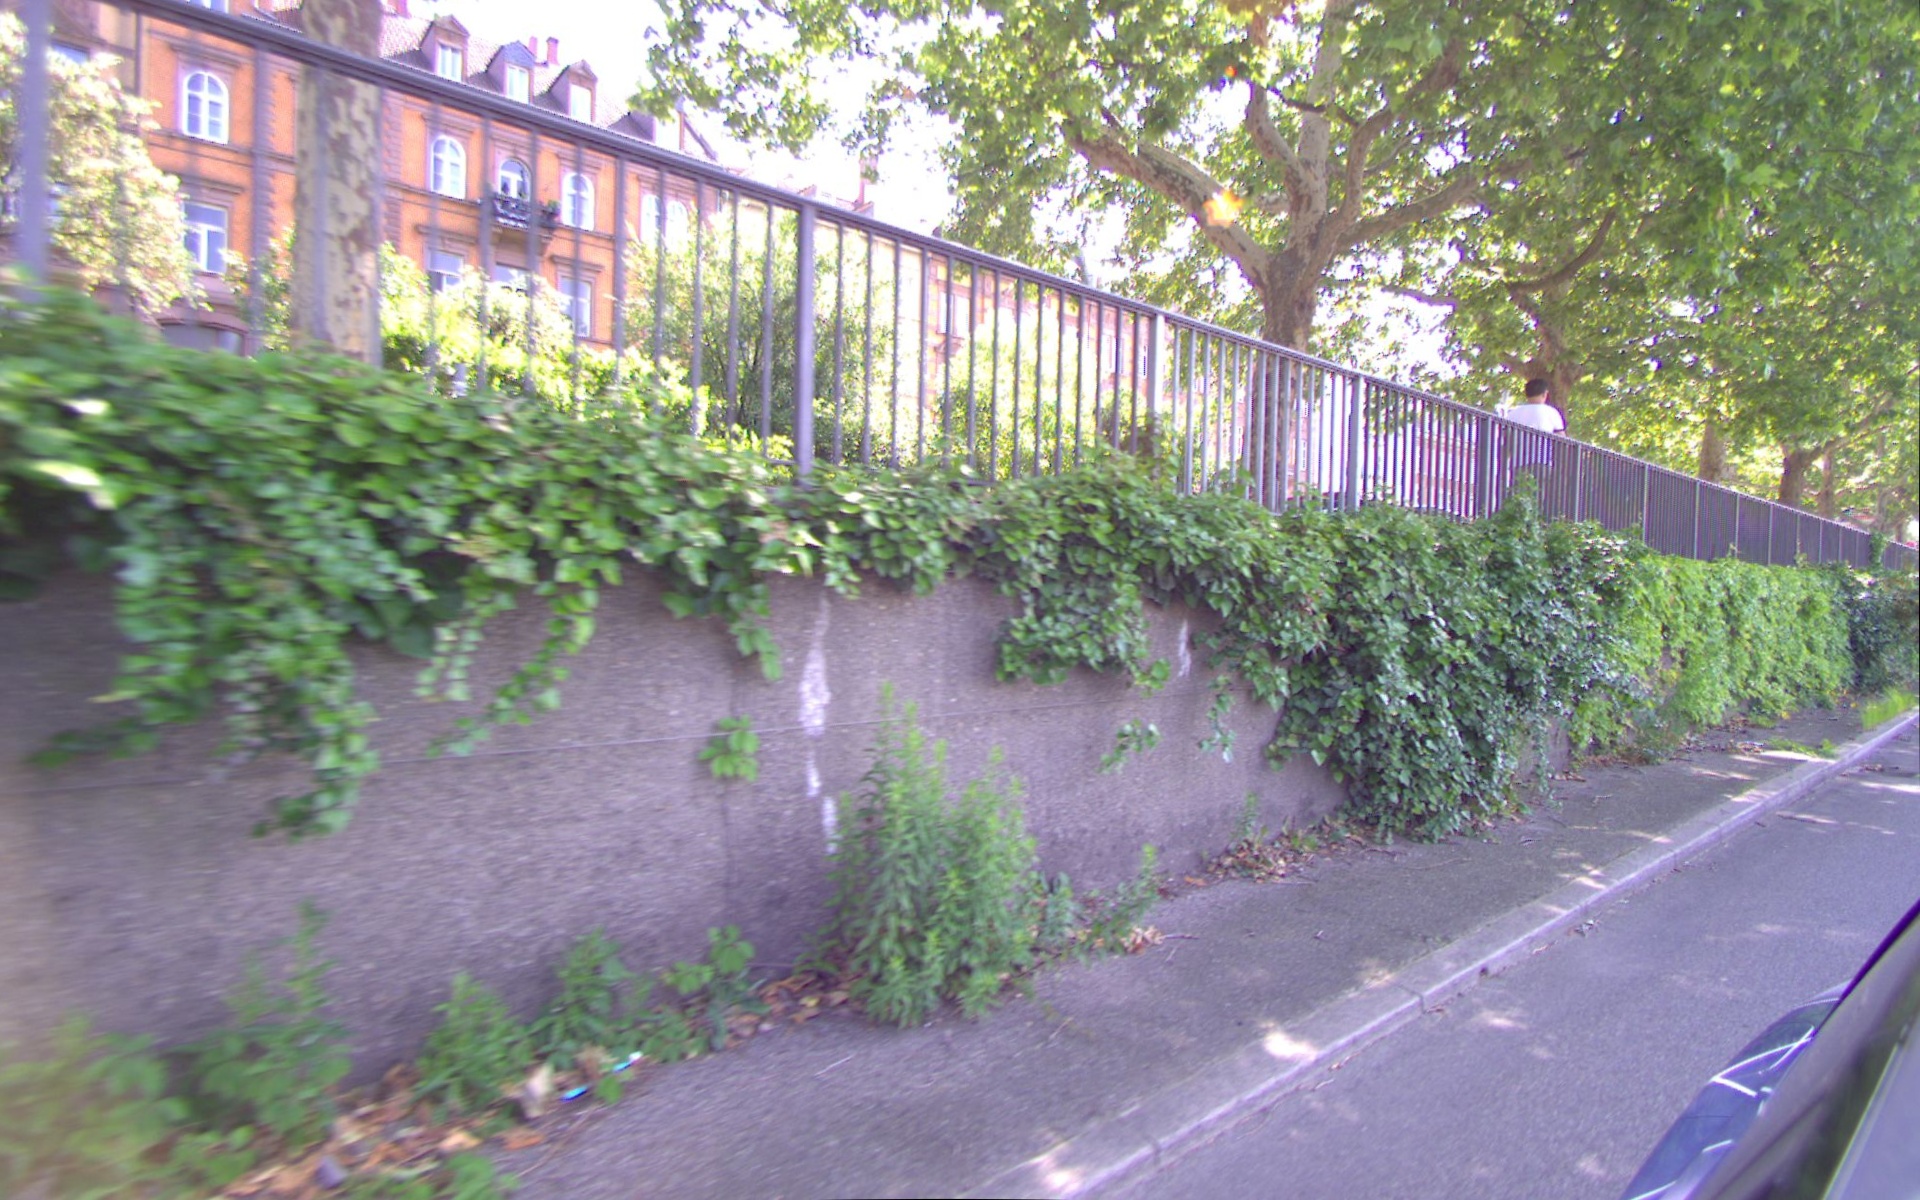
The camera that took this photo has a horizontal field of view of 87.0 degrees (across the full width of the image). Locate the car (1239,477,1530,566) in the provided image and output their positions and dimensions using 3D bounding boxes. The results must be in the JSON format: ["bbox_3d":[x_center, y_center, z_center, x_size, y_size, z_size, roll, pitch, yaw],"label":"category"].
[{"bbox_3d":[6.314,-1.124,15.341,1.623,1.129,3.735,1,1,-43],"label":"car"}]

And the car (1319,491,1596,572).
[{"bbox_3d":[8.041,-1.068,16.582,1.622,1.129,3.737,1,1,-42],"label":"car"}]

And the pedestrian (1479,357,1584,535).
[{"bbox_3d":[5.541,-1.451,9.816,0.639,1.611,0.666,1,1,-41],"label":"pedestrian"}]

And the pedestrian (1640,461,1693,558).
[{"bbox_3d":[10.960,-1.389,15.706,0.584,1.437,0.580,2,1,41],"label":"pedestrian"}]

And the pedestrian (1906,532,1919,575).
[{"bbox_3d":[29.217,-1.402,30.675,0.729,1.259,0.712,1,1,-42],"label":"pedestrian"}]

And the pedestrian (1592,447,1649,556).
[{"bbox_3d":[10.503,-1.544,16.090,0.646,1.660,0.617,2,1,41],"label":"pedestrian"}]
